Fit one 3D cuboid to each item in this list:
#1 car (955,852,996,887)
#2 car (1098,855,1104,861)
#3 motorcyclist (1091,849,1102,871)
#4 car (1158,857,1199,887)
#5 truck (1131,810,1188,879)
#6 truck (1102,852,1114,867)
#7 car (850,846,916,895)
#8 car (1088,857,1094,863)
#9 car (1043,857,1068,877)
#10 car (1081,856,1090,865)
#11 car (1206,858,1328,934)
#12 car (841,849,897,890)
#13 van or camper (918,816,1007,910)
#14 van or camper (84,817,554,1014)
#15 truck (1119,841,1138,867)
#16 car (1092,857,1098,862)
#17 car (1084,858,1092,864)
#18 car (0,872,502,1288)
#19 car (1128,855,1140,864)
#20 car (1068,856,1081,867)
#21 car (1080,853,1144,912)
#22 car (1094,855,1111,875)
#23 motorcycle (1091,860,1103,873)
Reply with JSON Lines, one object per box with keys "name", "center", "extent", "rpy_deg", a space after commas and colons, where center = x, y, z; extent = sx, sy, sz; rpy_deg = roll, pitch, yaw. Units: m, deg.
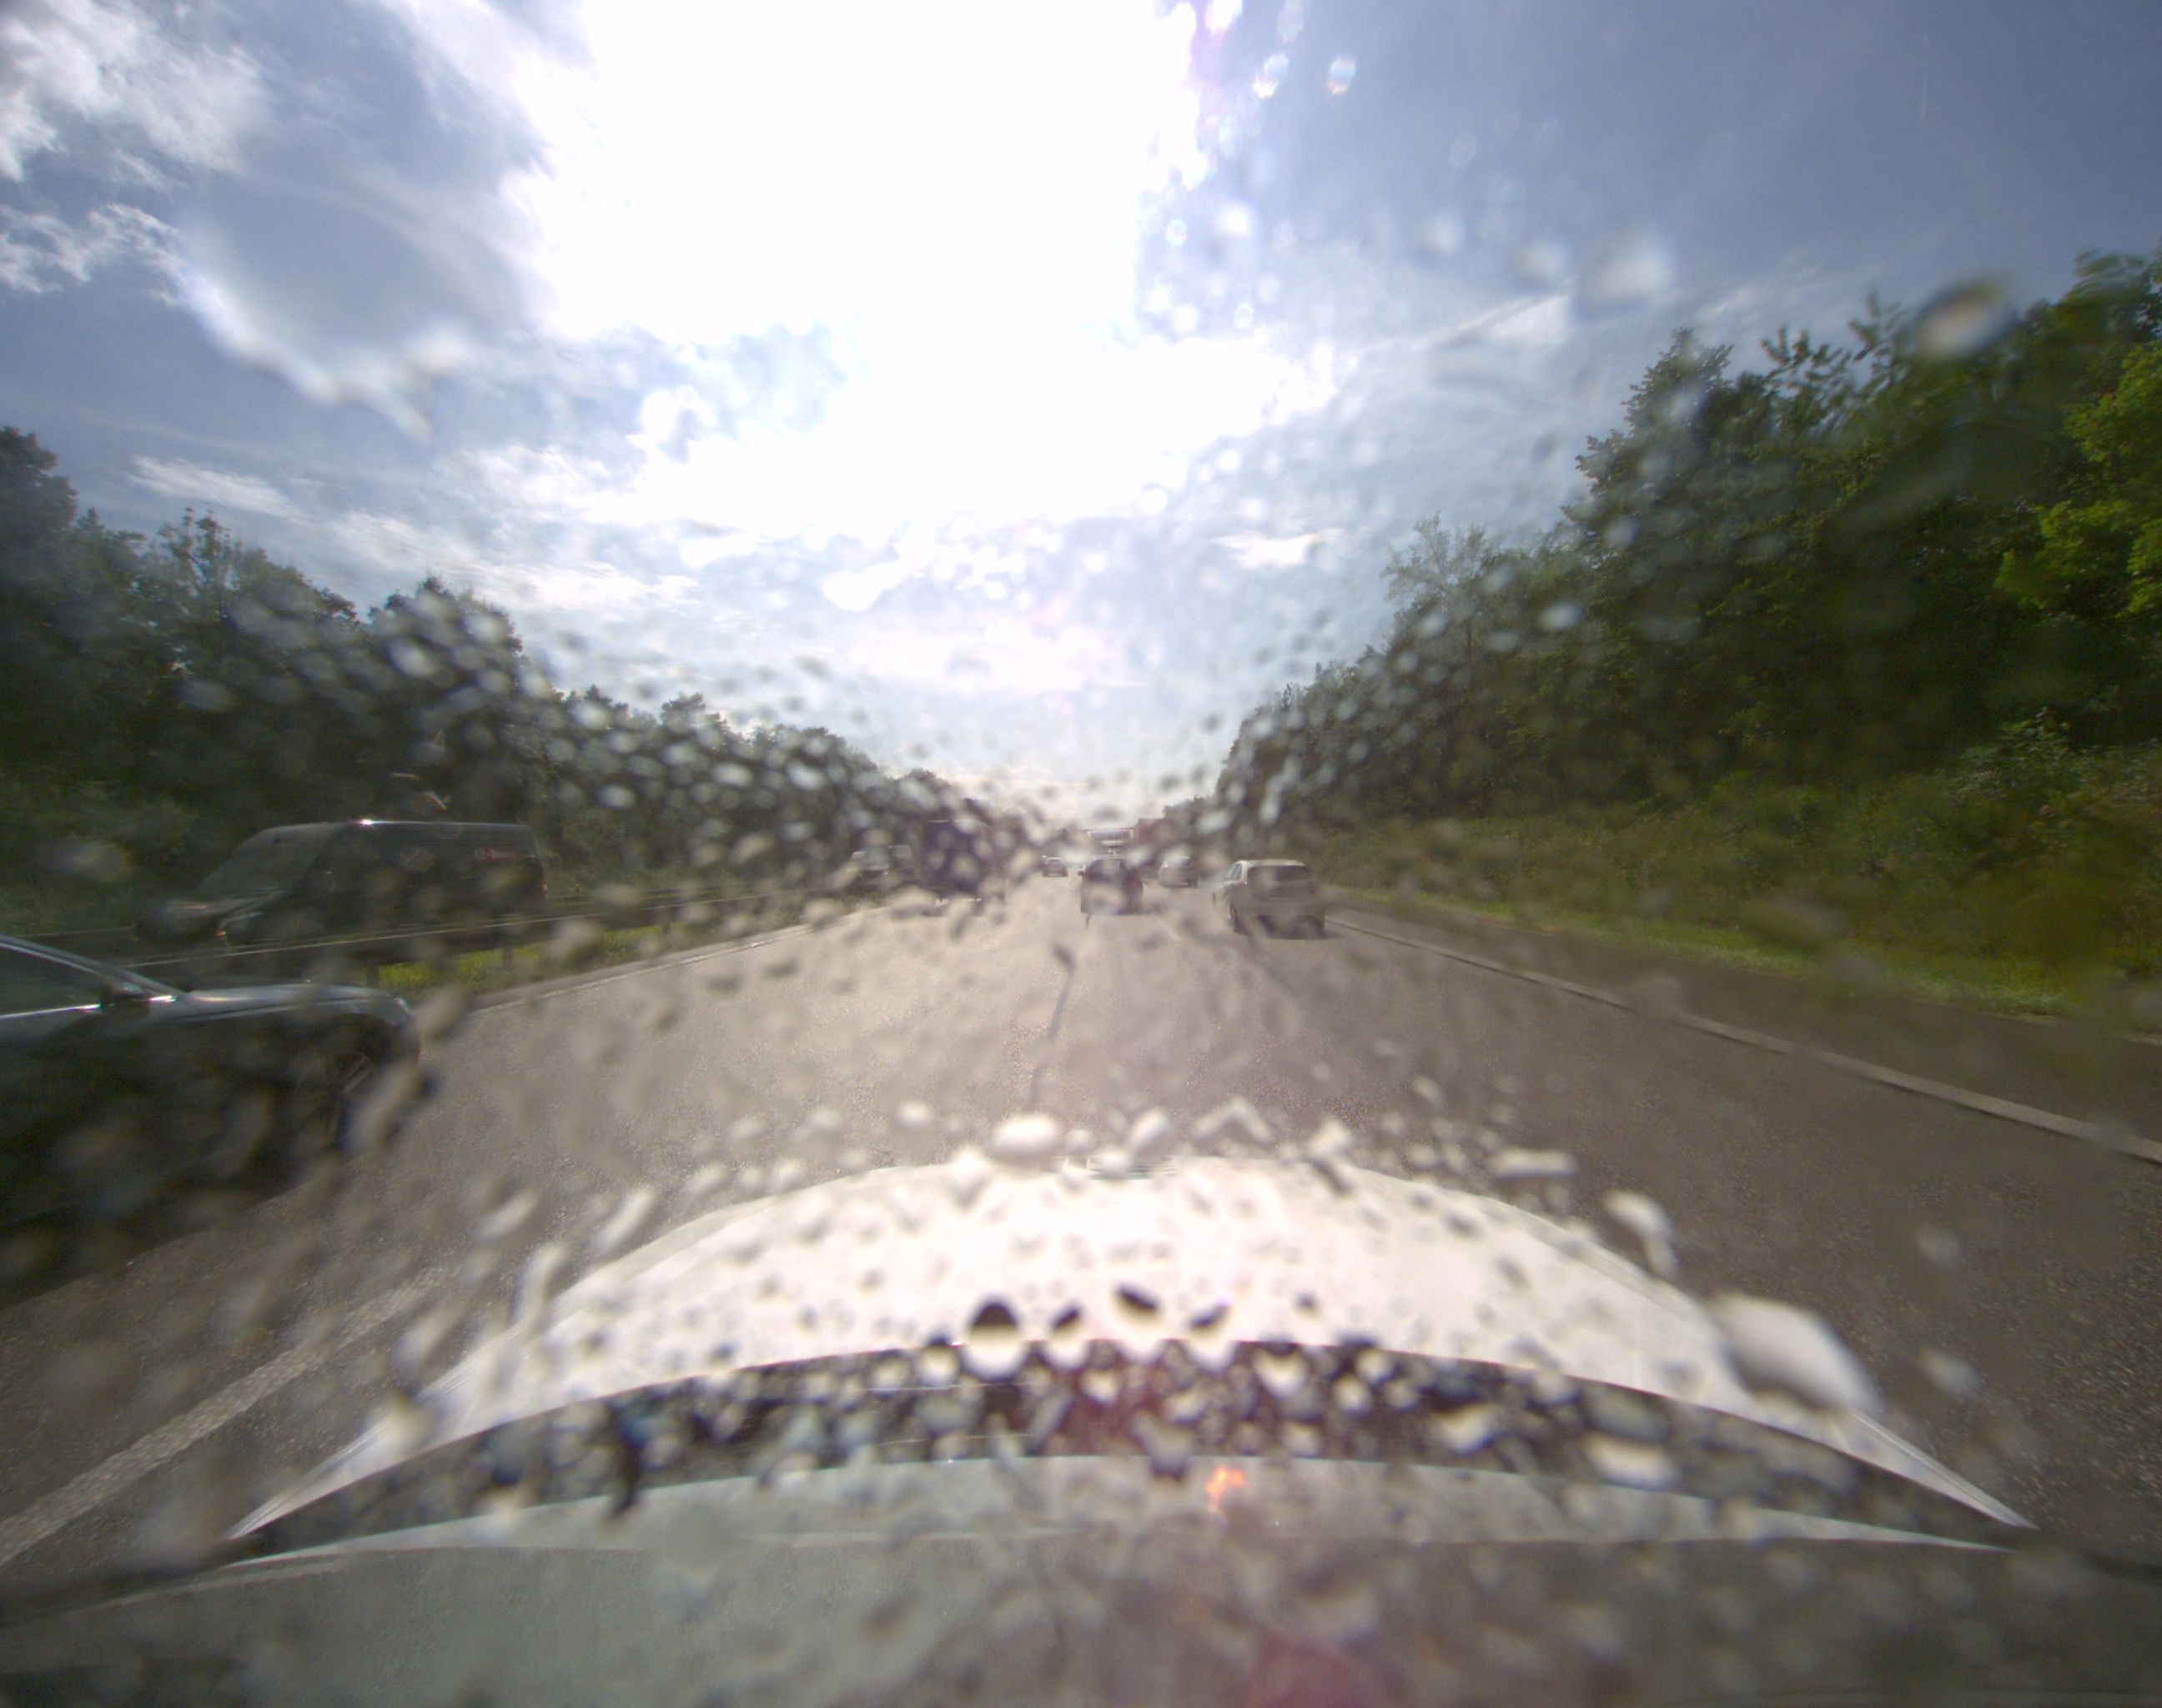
{"name": "car", "center": [-7.641, 1.079, 59.567], "extent": [2.175, 2.452, 5.748], "rpy_deg": [0, 0, 1]}
{"name": "car", "center": [6.215, 1.241, 250.611], "extent": [1.986, 1.728, 4.002], "rpy_deg": [-1, 0, 2]}
{"name": "motorcyclist", "center": [1.211, 0.473, 63.363], "extent": [0.799, 1.633, 1.013], "rpy_deg": [0, -1, 0]}
{"name": "car", "center": [4.847, 0.863, 40.907], "extent": [1.675, 1.442, 3.905], "rpy_deg": [0, 0, 1]}
{"name": "truck", "center": [5.946, -0.593, 64.765], "extent": [3.635, 4.720, 16.788], "rpy_deg": [0, 0, 2]}
{"name": "truck", "center": [5.535, 1.147, 167.315], "extent": [2.184, 2.875, 4.849], "rpy_deg": [0, 0, 1]}
{"name": "car", "center": [-12.327, 0.977, 51.197], "extent": [2.254, 2.870, 6.892], "rpy_deg": [0, 0, 2]}
{"name": "car", "center": [2.349, 1.428, 194.751], "extent": [1.544, 1.267, 3.484], "rpy_deg": [0, 0, 0]}
{"name": "car", "center": [-2.038, 1.041, 65.089], "extent": [1.848, 1.551, 3.484], "rpy_deg": [0, 0, 0]}
{"name": "car", "center": [0.798, 1.100, 138.943], "extent": [1.455, 1.393, 3.311], "rpy_deg": [0, 0, 1]}
{"name": "car", "center": [3.829, 0.799, 17.422], "extent": [1.686, 1.425, 4.220], "rpy_deg": [0, 0, 1]}
{"name": "car", "center": [-15.836, 1.135, 61.185], "extent": [2.254, 2.870, 6.791], "rpy_deg": [0, 0, 2]}
{"name": "van or camper", "center": [-3.670, 0.275, 26.142], "extent": [1.987, 2.669, 5.385], "rpy_deg": [0, 0, 1]}
{"name": "van or camper", "center": [-13.378, 0.925, 15.351], "extent": [2.254, 2.870, 6.841], "rpy_deg": [0, 0, 2]}
{"name": "truck", "center": [8.372, 0.079, 145.175], "extent": [3.243, 4.479, 12.428], "rpy_deg": [0, 0, 2]}
{"name": "car", "center": [3.708, 1.323, 210.242], "extent": [1.544, 1.267, 3.484], "rpy_deg": [0, 0, 0]}
{"name": "car", "center": [1.403, 1.374, 163.567], "extent": [1.544, 1.267, 3.484], "rpy_deg": [0, 0, 0]}
{"name": "car", "center": [-4.694, 0.819, 2.833], "extent": [1.787, 1.419, 4.840], "rpy_deg": [0, 0, 2]}
{"name": "car", "center": [7.697, 0.804, 119.079], "extent": [1.547, 1.383, 3.210], "rpy_deg": [0, 0, 0]}
{"name": "car", "center": [-0.934, 1.058, 112.280], "extent": [1.745, 1.457, 3.390], "rpy_deg": [0, 0, 0]}
{"name": "car", "center": [0.850, 0.784, 23.748], "extent": [1.712, 1.568, 3.484], "rpy_deg": [0, 0, 0]}
{"name": "car", "center": [1.967, 1.020, 76.351], "extent": [1.526, 1.746, 3.484], "rpy_deg": [0, 0, 1]}
{"name": "motorcycle", "center": [1.241, 0.937, 63.403], "extent": [0.888, 1.000, 2.896], "rpy_deg": [0, 0, 1]}
